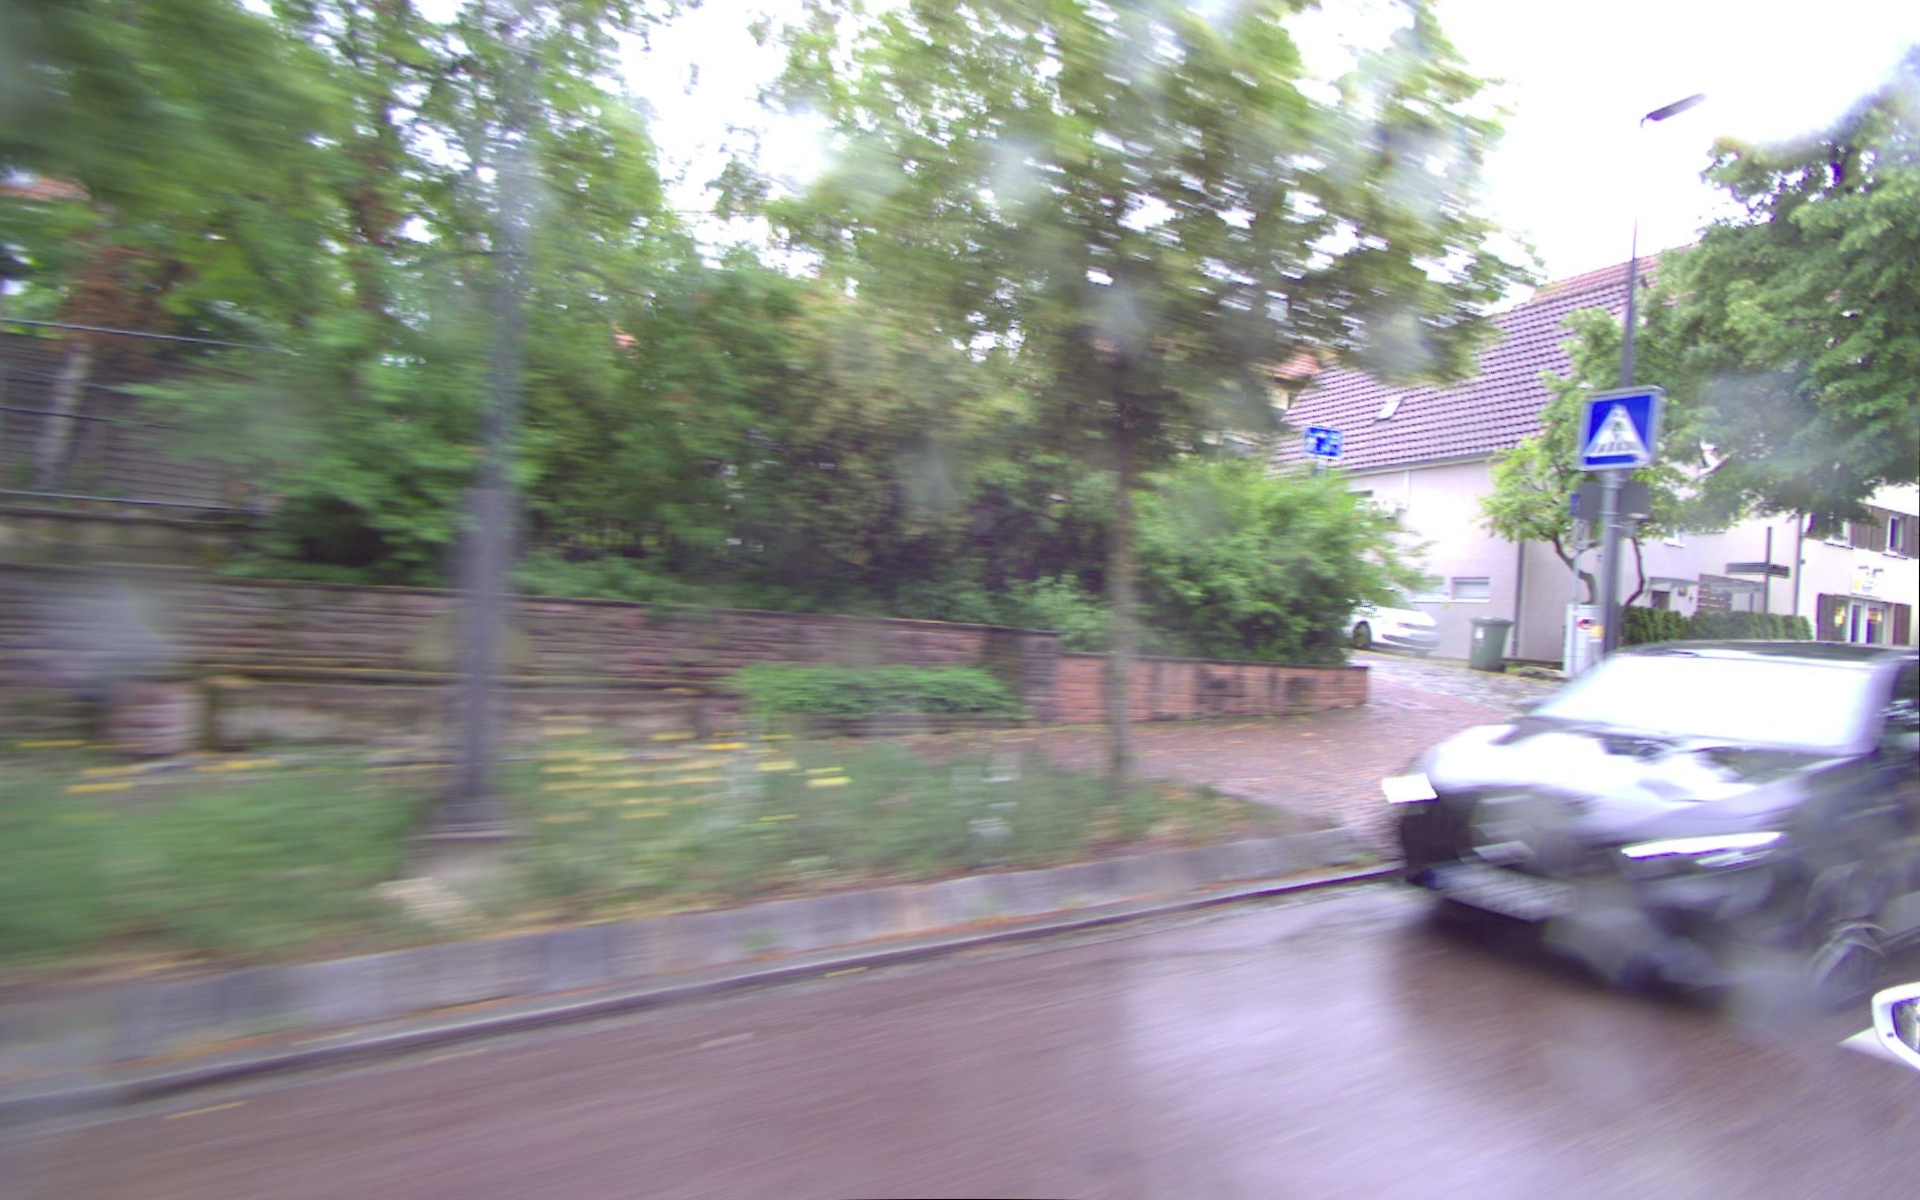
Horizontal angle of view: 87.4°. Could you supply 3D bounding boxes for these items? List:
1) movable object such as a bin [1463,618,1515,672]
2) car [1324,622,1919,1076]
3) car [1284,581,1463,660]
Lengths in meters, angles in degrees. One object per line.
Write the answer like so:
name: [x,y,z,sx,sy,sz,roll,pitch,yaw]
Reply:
movable object such as a bin: [10.696,0.908,20.320,0.727,1.048,0.572,2,0,-17]
car: [4.165,0.891,5.211,4.354,1.404,1.847,1,2,-29]
car: [10.275,0.439,25.368,1.965,1.710,4.434,4,0,-12]
